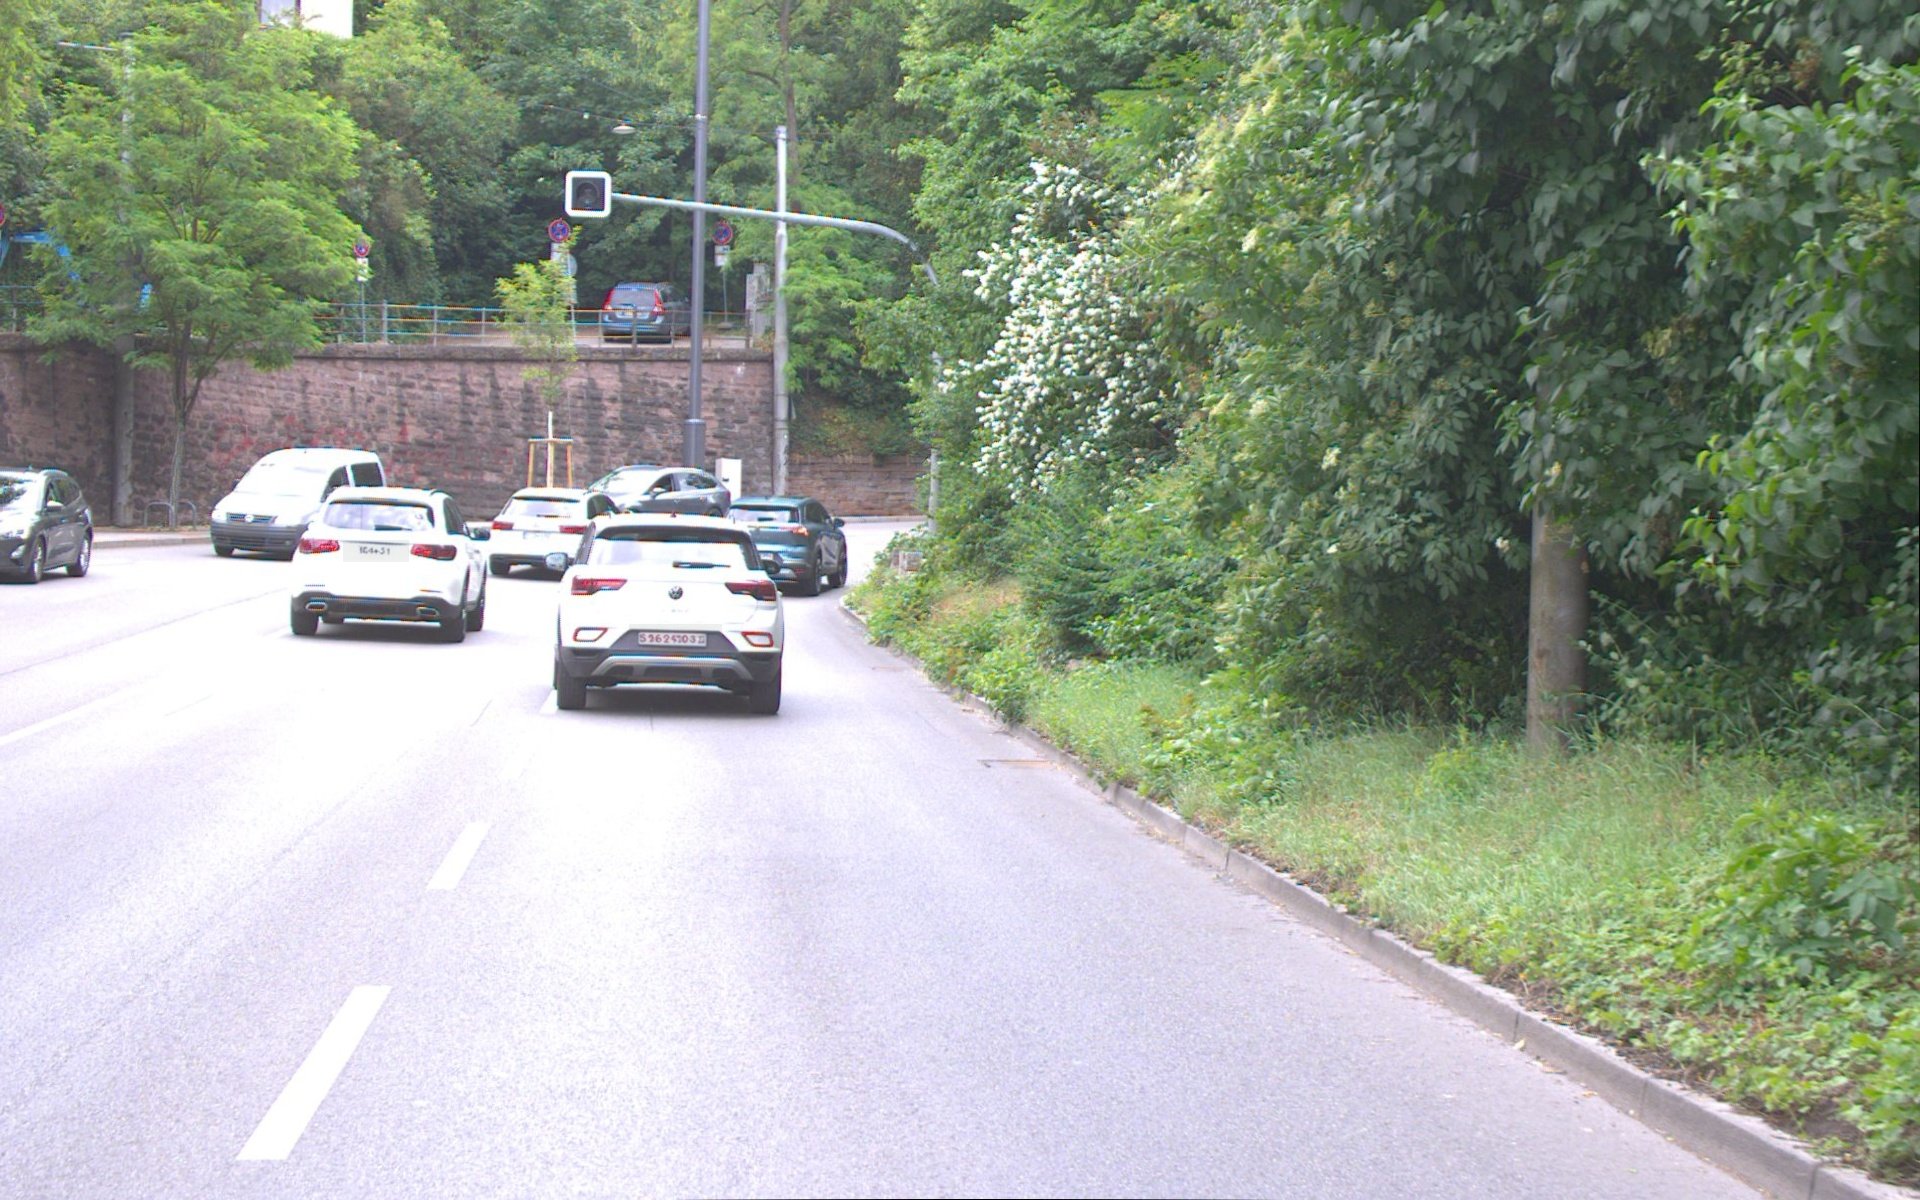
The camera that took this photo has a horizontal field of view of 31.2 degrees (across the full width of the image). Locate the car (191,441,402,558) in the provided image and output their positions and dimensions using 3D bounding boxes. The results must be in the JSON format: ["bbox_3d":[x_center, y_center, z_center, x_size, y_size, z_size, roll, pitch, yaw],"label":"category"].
[{"bbox_3d":[-11.233,-1.703,58.488,1.946,1.792,4.284,4,2,11],"label":"car"}]

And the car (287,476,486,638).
[{"bbox_3d":[-6.359,-0.495,38.498,1.876,1.646,4.342,2,1,-6],"label":"car"}]

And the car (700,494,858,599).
[{"bbox_3d":[-2.948,-0.896,56.836,1.861,1.626,3.958,-2,1,8],"label":"car"}]

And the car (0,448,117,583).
[{"bbox_3d":[-12.945,-1.195,46.342,1.993,1.612,4.330,4,3,0],"label":"car"}]

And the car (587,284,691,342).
[{"bbox_3d":[-8.419,-7.561,90.404,1.994,1.480,4.001,1,5,5],"label":"car"}]

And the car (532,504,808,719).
[{"bbox_3d":[-2.447,0.040,28.189,1.864,1.550,3.896,2,2,-10],"label":"car"}]

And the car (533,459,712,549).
[{"bbox_3d":[-6.875,-1.964,70.462,1.947,1.687,4.282,4,3,19],"label":"car"}]

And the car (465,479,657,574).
[{"bbox_3d":[-6.621,-1.246,57.529,2.248,1.514,4.307,1,2,7],"label":"car"}]
